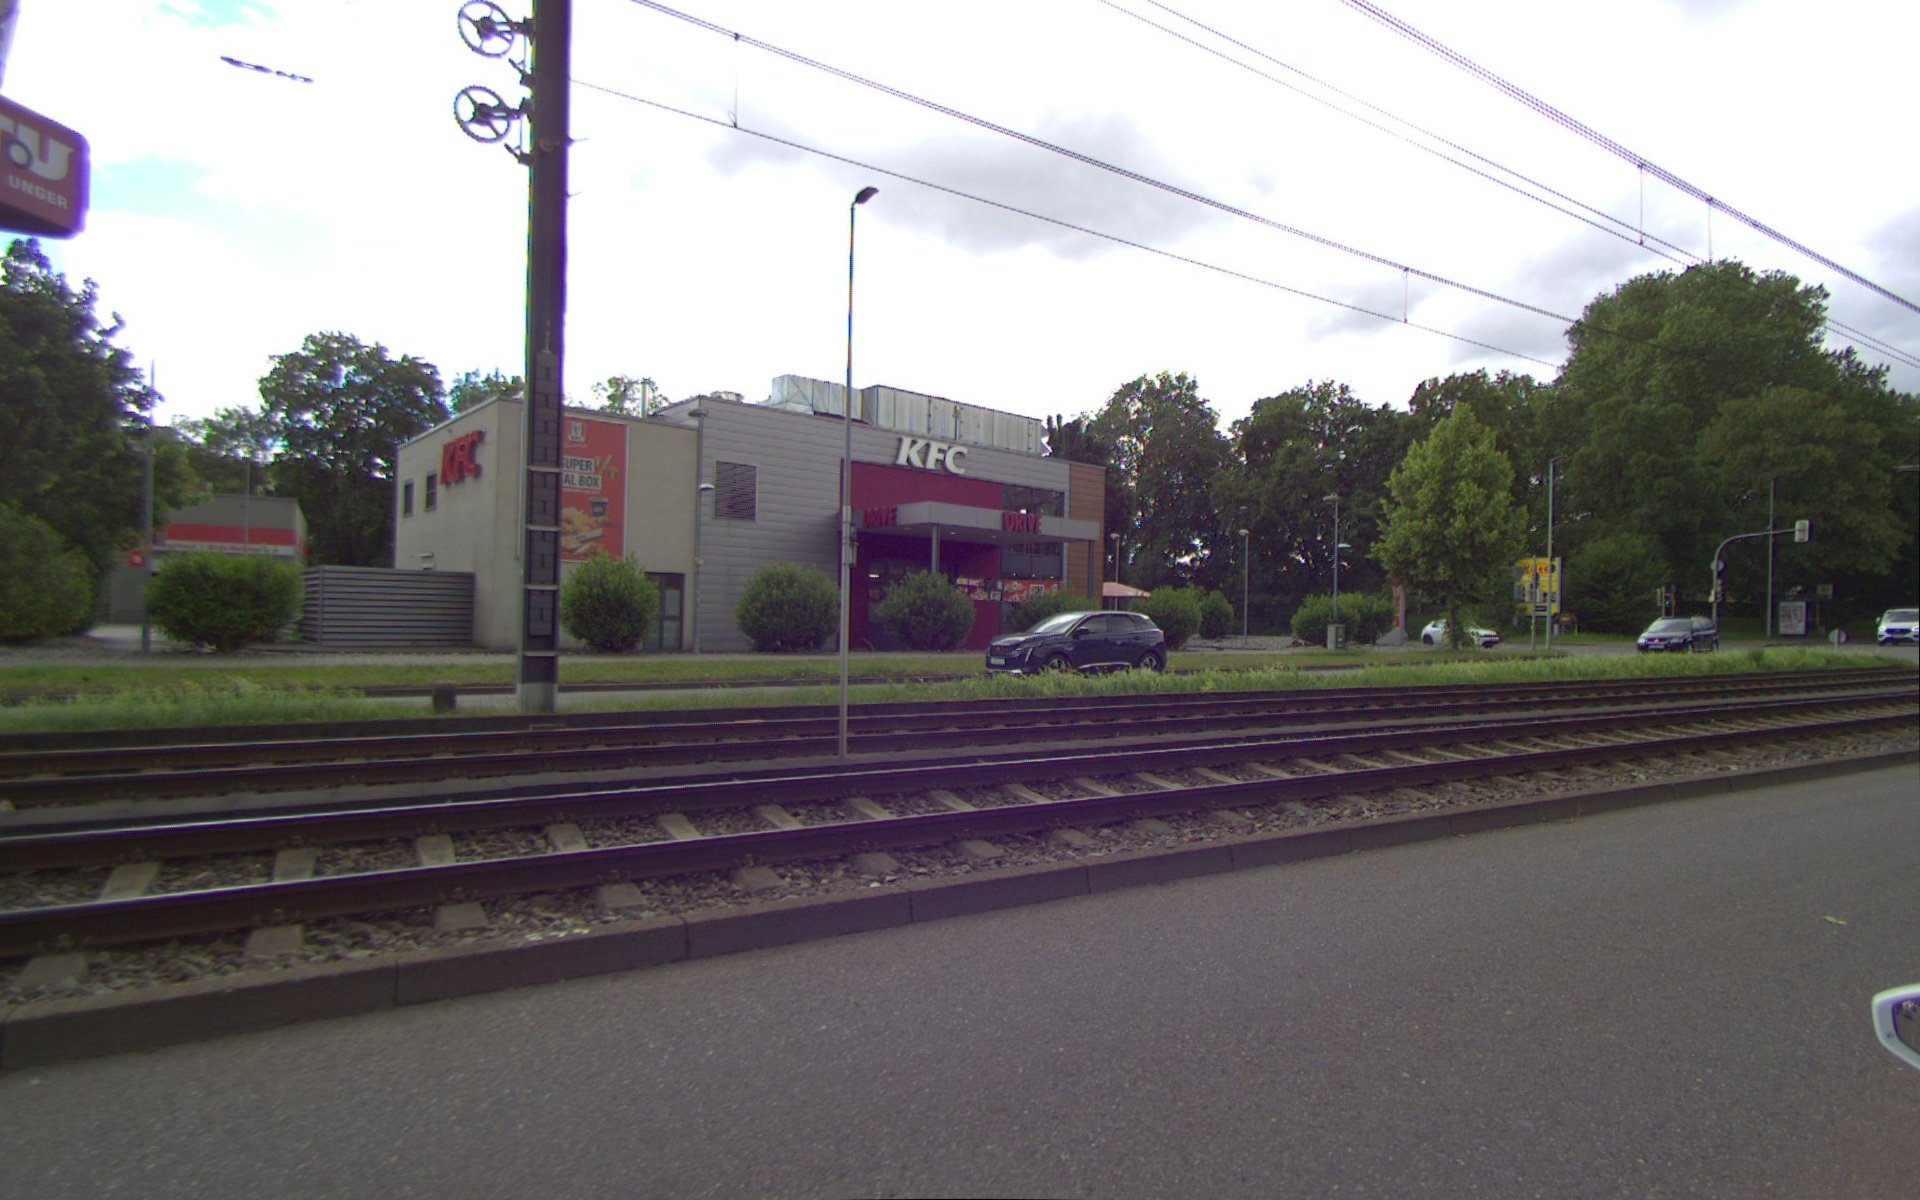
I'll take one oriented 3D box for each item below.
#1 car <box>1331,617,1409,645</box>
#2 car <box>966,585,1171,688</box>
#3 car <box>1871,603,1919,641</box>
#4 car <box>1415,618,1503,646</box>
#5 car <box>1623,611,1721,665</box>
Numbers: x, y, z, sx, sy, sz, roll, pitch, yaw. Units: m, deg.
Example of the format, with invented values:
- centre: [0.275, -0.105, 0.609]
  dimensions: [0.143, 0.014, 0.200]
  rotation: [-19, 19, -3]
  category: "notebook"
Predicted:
- centre: [23.890, 1.791, 58.638]
  dimensions: [1.827, 1.572, 3.964]
  rotation: [1, -1, -32]
  category: "car"
- centre: [2.407, 0.777, 21.948]
  dimensions: [4.205, 2.040, 1.980]
  rotation: [2, -1, -35]
  category: "car"
- centre: [52.367, 1.234, 55.667]
  dimensions: [4.841, 2.040, 1.979]
  rotation: [2, -1, -37]
  category: "car"
- centre: [26.566, 1.688, 53.604]
  dimensions: [1.827, 1.426, 3.857]
  rotation: [1, -1, -32]
  category: "car"
- centre: [28.635, 1.503, 40.382]
  dimensions: [4.066, 2.040, 1.980]
  rotation: [2, -1, -35]
  category: "car"
